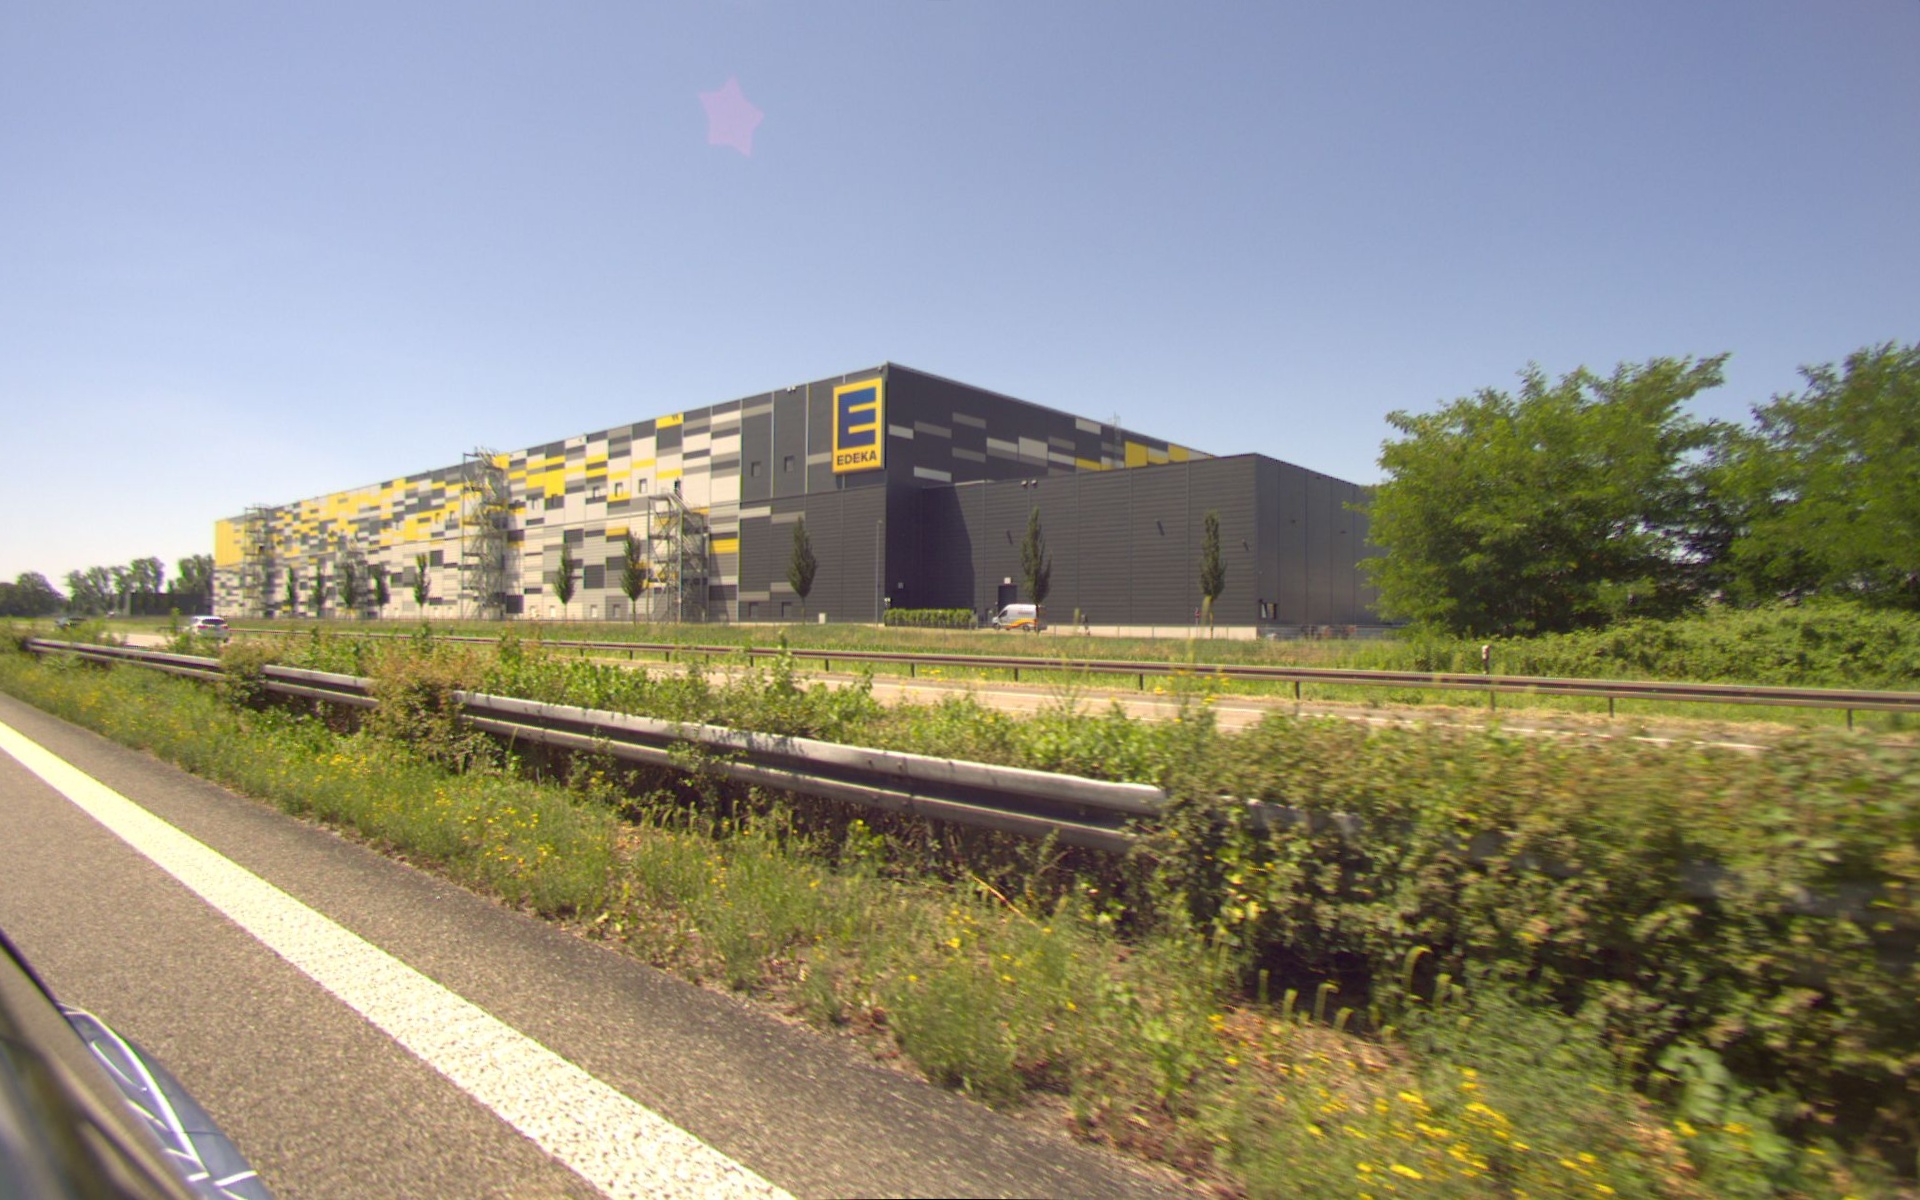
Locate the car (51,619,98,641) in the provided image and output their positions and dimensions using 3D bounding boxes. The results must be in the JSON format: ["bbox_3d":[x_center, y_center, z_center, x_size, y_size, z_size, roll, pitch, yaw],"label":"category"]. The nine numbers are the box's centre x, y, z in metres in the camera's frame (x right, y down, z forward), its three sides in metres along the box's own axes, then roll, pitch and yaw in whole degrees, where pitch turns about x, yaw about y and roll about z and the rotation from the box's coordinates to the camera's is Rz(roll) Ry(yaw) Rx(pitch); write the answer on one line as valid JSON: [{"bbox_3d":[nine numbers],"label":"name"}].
[{"bbox_3d":[-67.122,2.251,76.662,5.029,1.544,1.880,-1,-5,40],"label":"car"}]

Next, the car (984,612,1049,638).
[{"bbox_3d":[5.395,2.425,97.785,6.171,2.475,2.372,-1,-2,41],"label":"car"}]

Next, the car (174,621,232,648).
[{"bbox_3d":[-47.410,2.175,63.327,4.740,1.606,1.880,-1,-3,40],"label":"car"}]
